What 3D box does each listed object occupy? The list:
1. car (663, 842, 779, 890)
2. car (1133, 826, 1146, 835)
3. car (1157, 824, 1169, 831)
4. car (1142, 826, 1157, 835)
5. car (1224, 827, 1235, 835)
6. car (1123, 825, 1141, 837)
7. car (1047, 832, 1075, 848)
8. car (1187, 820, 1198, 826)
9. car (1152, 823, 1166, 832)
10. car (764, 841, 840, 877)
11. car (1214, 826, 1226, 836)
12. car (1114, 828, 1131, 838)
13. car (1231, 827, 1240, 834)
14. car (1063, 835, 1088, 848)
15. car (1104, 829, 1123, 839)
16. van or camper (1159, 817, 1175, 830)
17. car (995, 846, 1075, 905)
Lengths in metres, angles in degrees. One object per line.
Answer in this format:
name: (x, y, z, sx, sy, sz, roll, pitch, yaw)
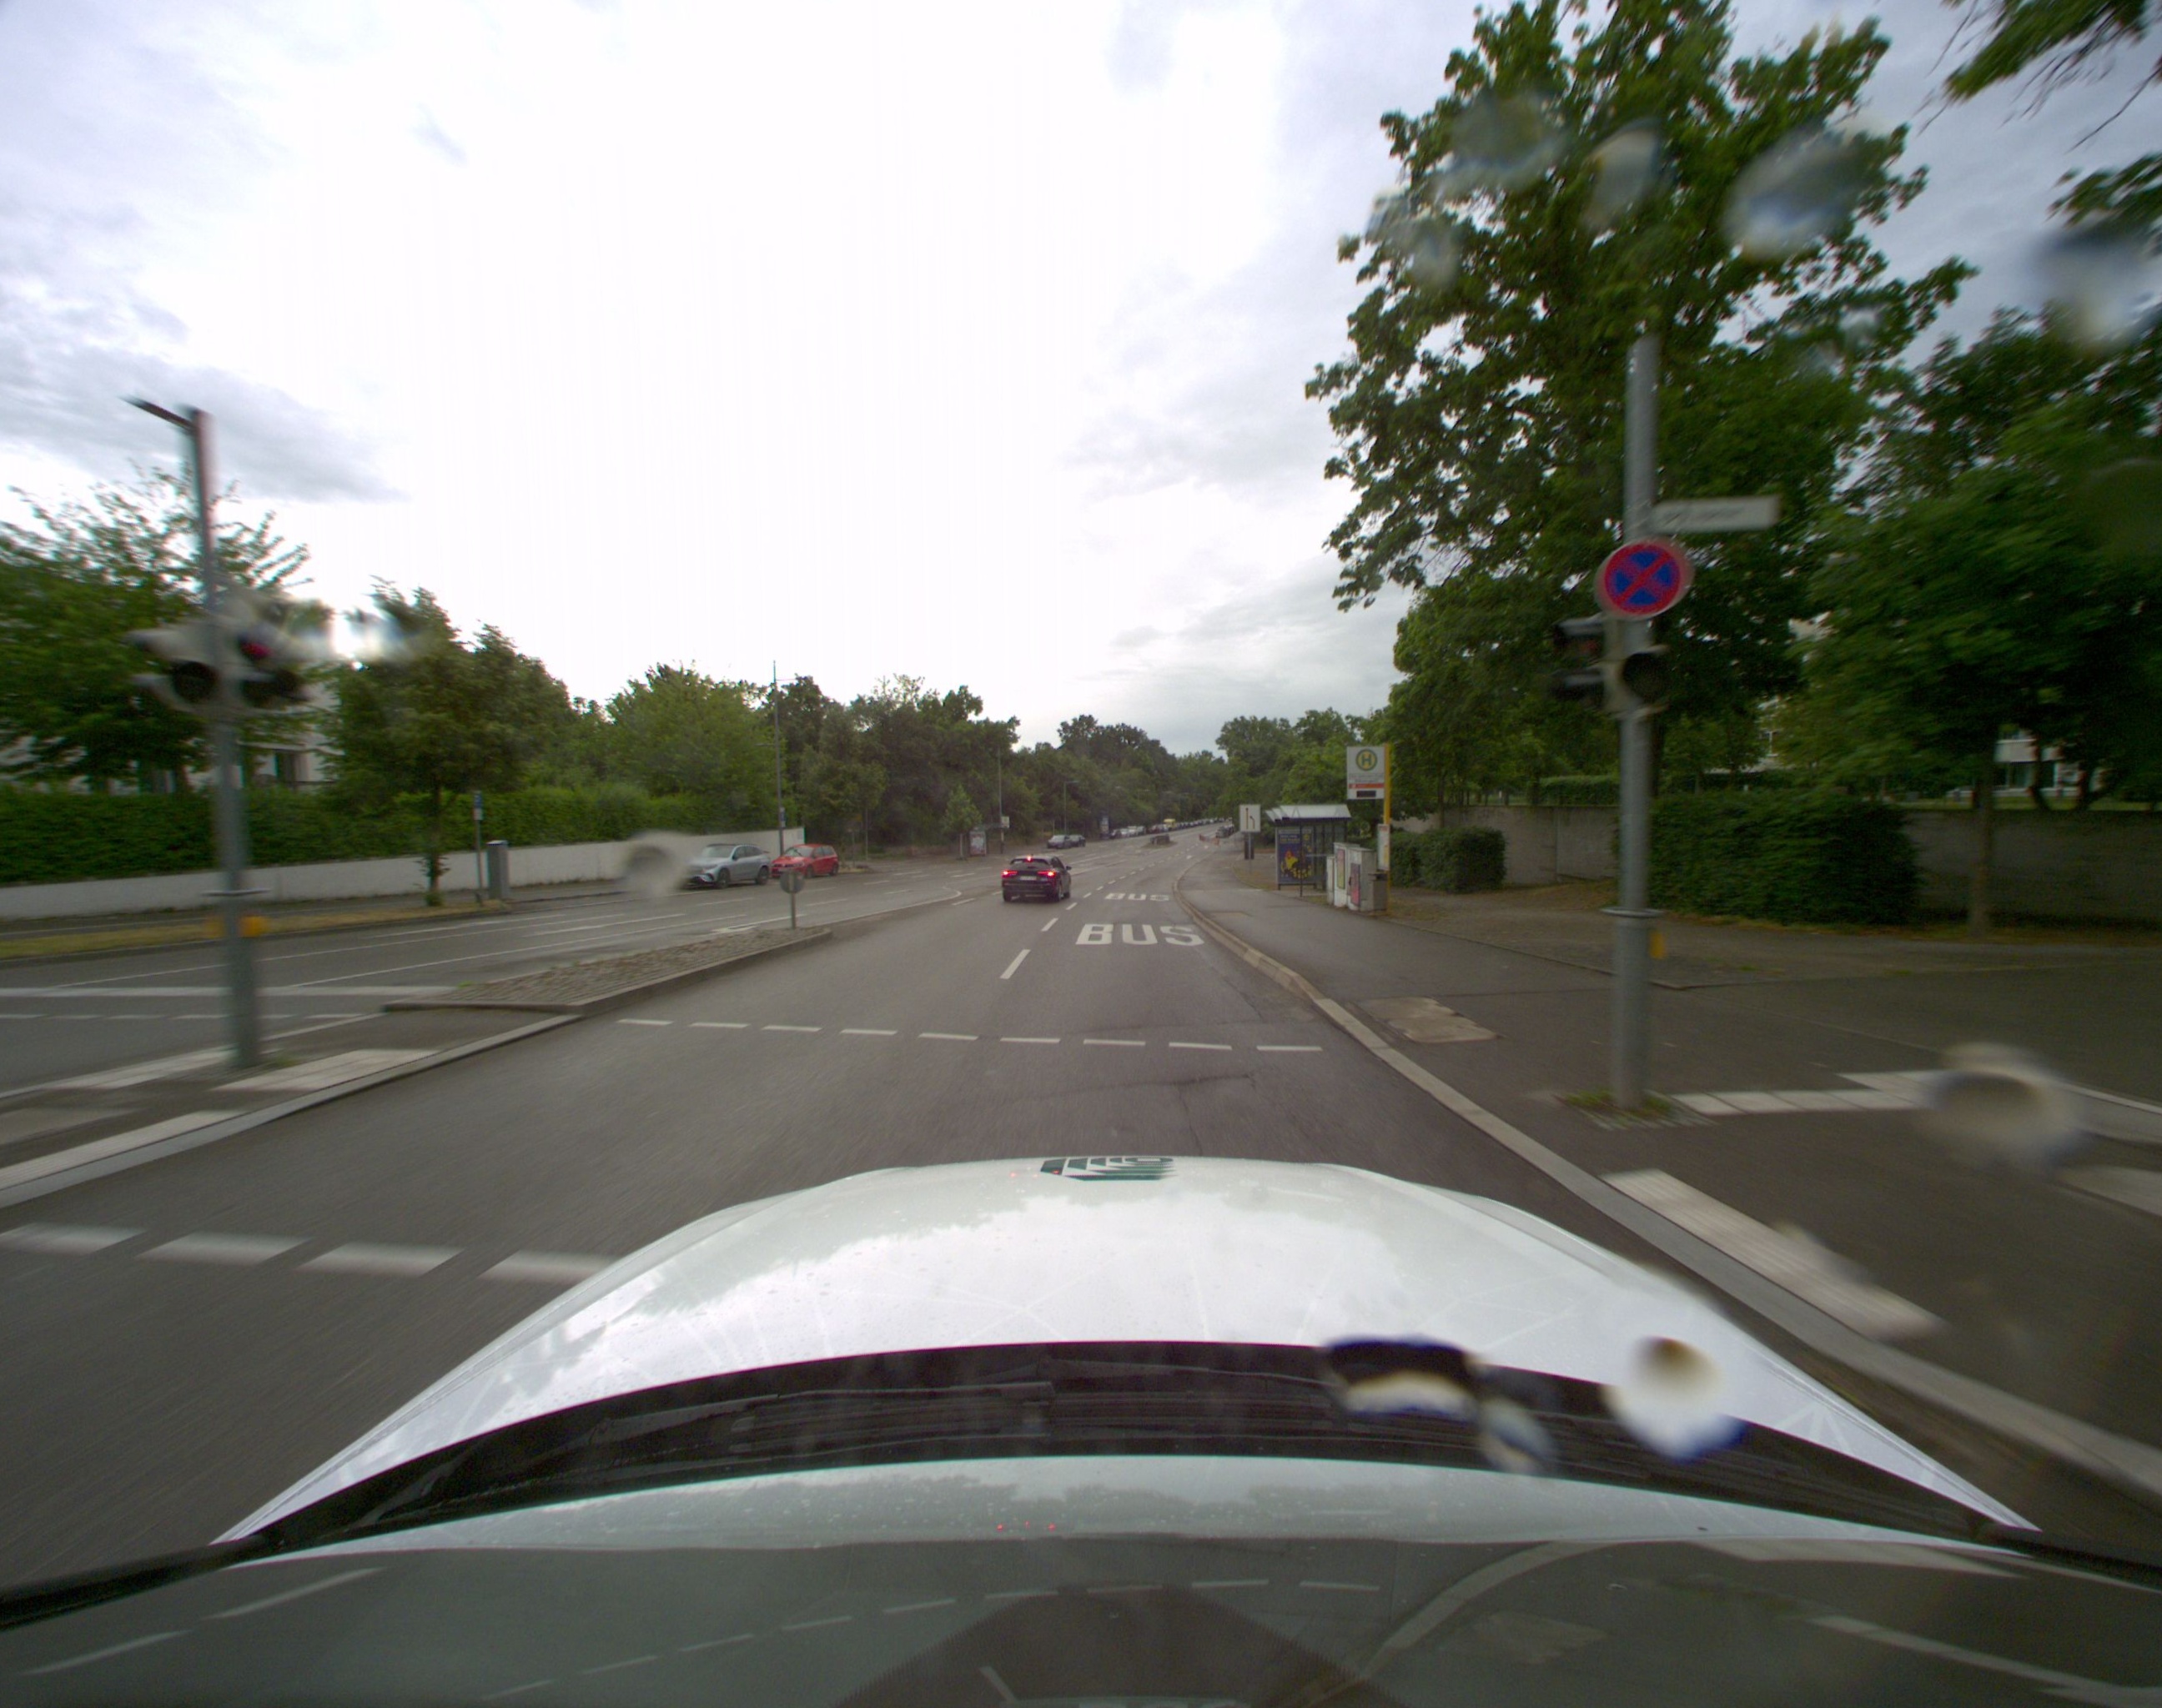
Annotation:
car: (-13.731, 0.383, 31.445, 1.754, 1.653, 4.894, 2, 1, 7)
car: (10.507, -4.232, 146.175, 1.719, 1.648, 4.589, 1, 3, 13)
car: (16.758, -5.420, 166.506, 1.605, 1.448, 3.674, 0, 3, 16)
car: (13.157, -4.582, 155.738, 1.904, 1.616, 4.510, 0, 3, 16)
car: (28.954, -4.500, 158.997, 1.647, 1.464, 3.917, 3, 4, 15)
car: (8.709, -3.919, 138.421, 1.979, 1.765, 4.982, 1, 3, 15)
car: (-2.209, -1.628, 92.792, 1.827, 1.588, 4.949, 2, 3, 15)
car: (27.011, -7.464, 197.413, 1.856, 1.303, 4.490, 1, 3, 16)
car: (15.545, -5.345, 162.200, 1.979, 1.699, 4.635, 1, 3, 14)
car: (-12.979, 0.205, 38.198, 1.656, 1.586, 4.226, 0, 1, 7)
car: (22.530, -3.754, 131.878, 1.810, 1.614, 4.266, 1, 3, 11)
car: (6.703, -3.402, 131.438, 1.705, 1.459, 4.729, 1, 3, 16)
car: (33.031, -5.007, 173.876, 1.809, 1.485, 4.215, -1, 0, 13)
car: (-0.643, -1.590, 99.130, 1.892, 1.414, 4.803, 2, 3, 15)
car: (5.117, -3.167, 126.514, 1.735, 1.444, 4.609, 2, 3, 18)
van or camper: (18.096, -6.455, 171.338, 2.127, 2.626, 5.709, 1, 3, 17)
car: (-1.372, 0.623, 26.044, 1.871, 1.465, 4.009, 2, 4, 6)
